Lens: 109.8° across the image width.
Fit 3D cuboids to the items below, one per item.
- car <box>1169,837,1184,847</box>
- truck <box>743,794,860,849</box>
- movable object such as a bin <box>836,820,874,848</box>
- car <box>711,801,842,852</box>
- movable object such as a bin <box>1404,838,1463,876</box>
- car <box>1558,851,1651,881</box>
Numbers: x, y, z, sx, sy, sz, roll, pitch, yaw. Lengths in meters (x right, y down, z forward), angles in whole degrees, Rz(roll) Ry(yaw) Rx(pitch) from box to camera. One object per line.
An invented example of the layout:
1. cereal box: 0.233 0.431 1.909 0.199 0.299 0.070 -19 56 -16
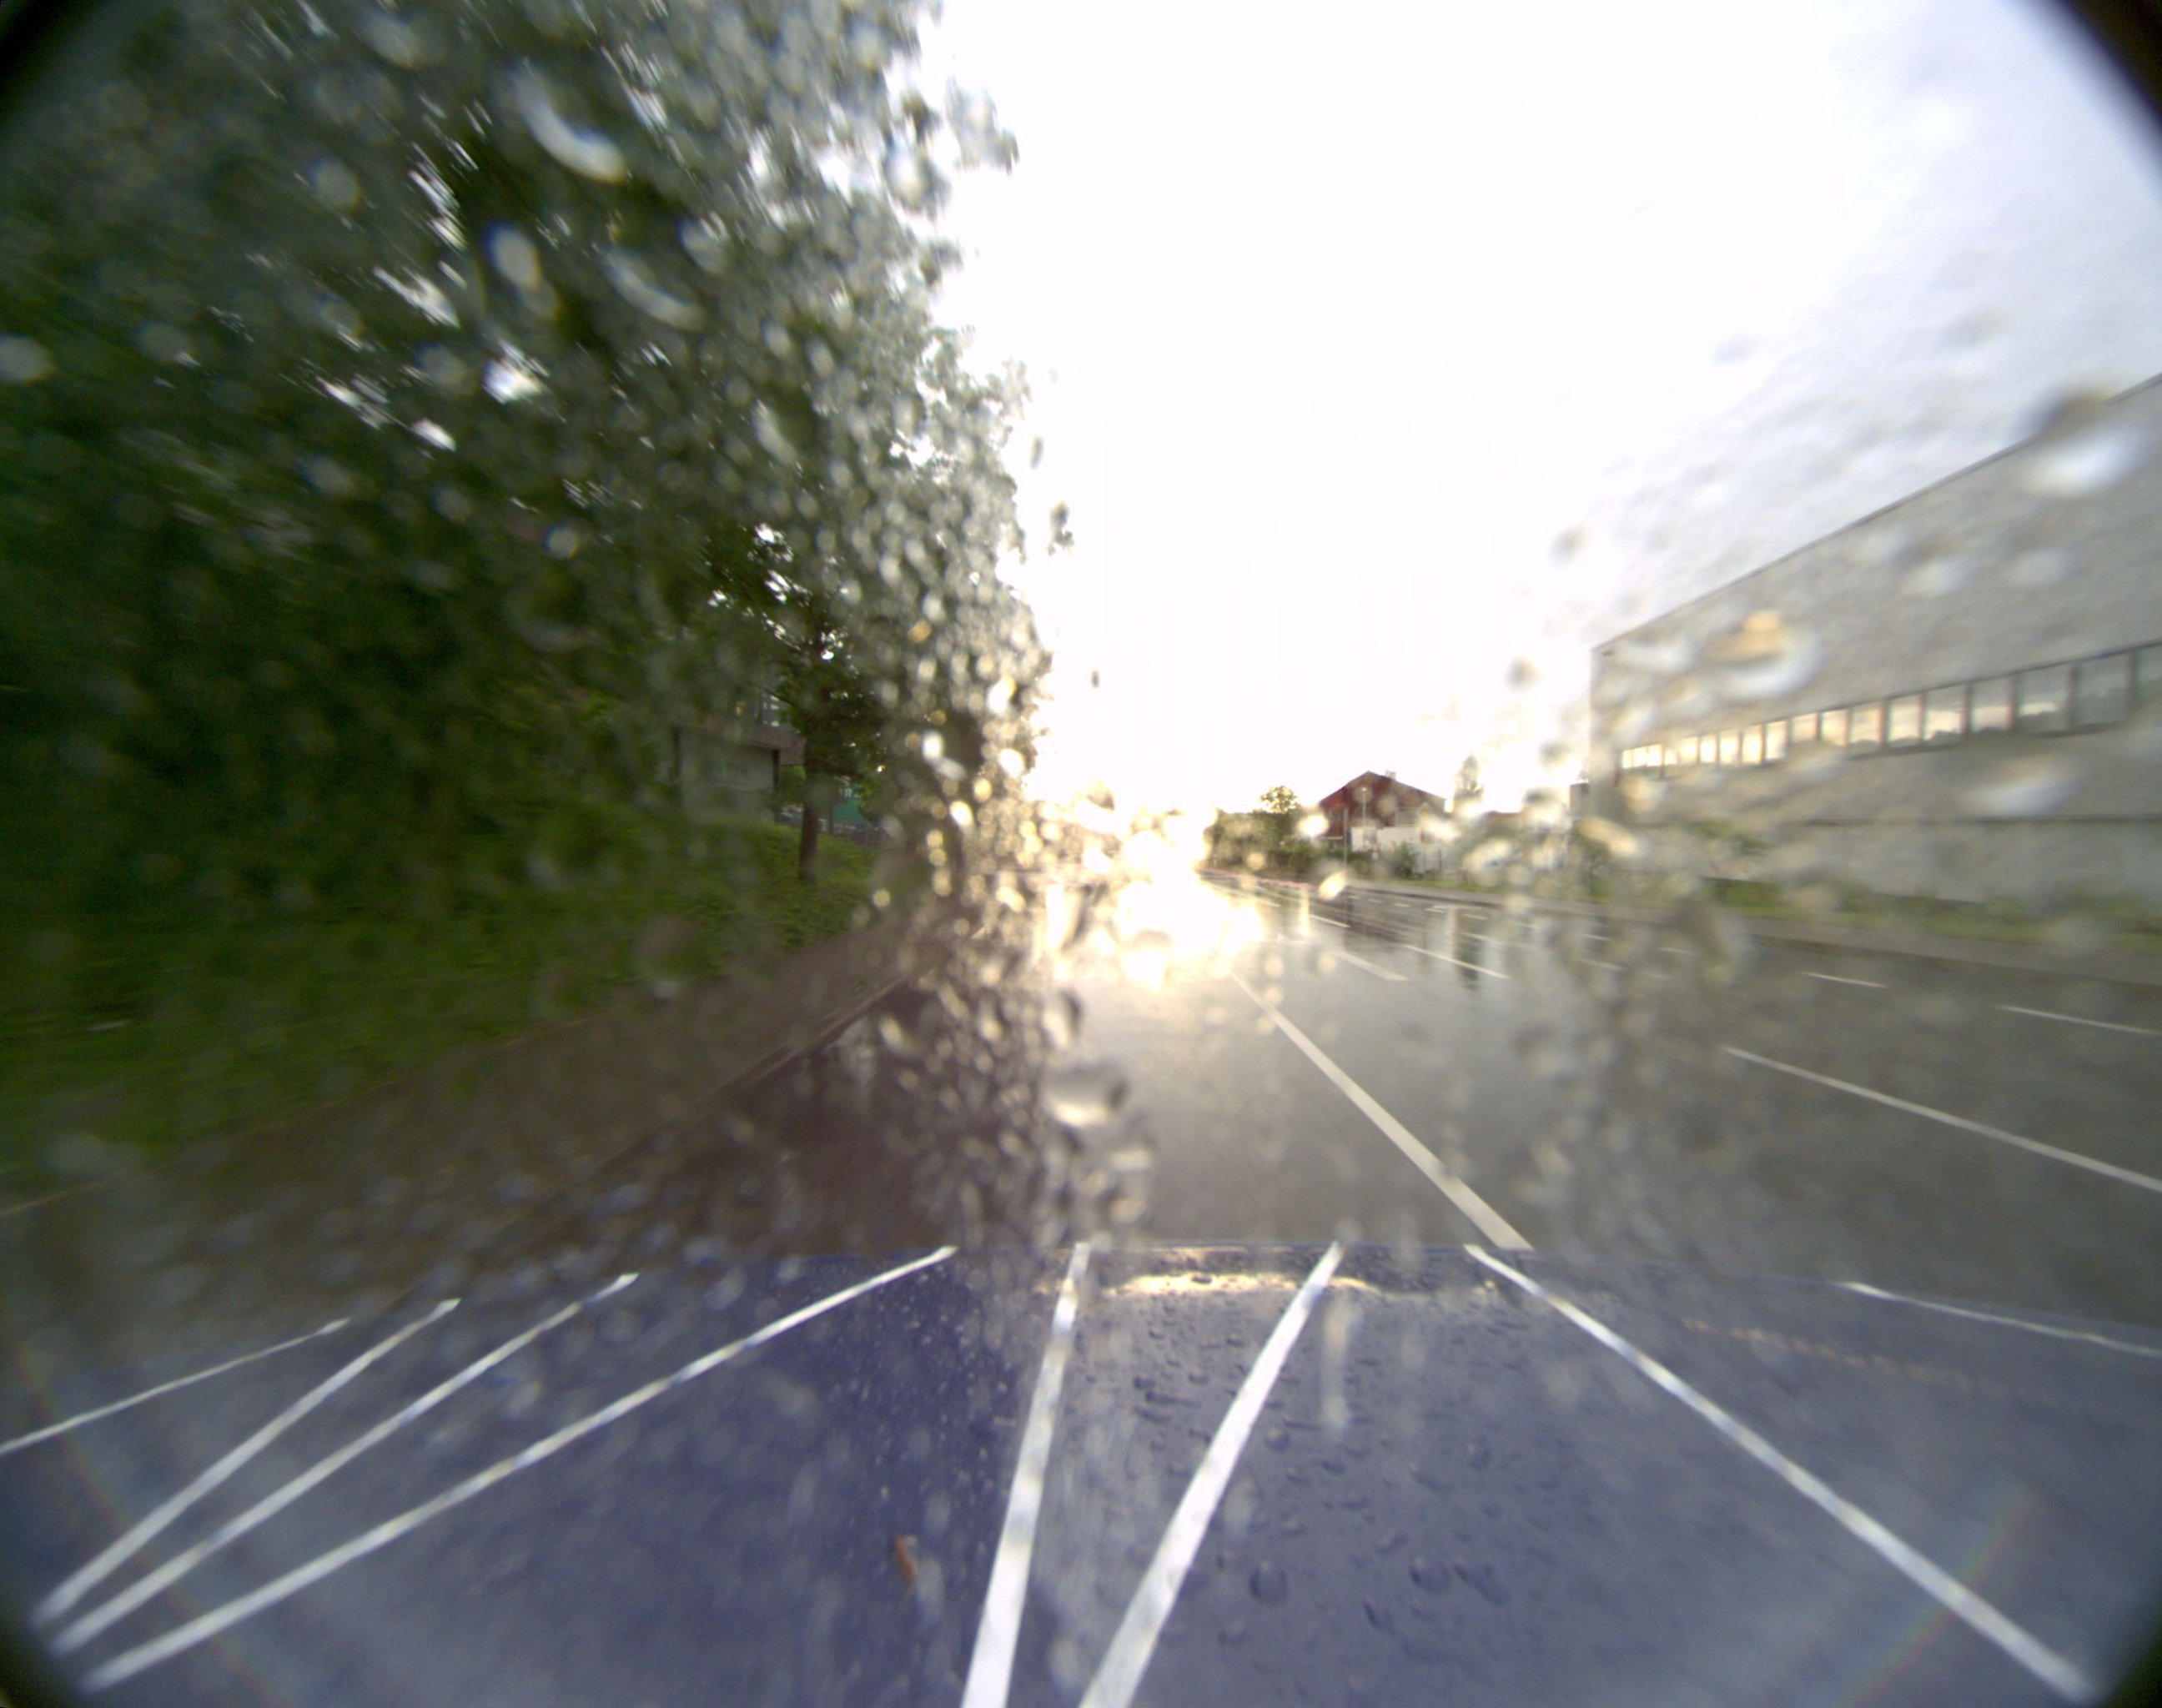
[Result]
1. car: 19.024 -2.474 152.161 2.359 1.805 6.877 3 1 2
2. truck: -13.518 -1.555 37.005 4.835 2.328 2.249 3 1 -3
3. movable object such as a bin: -12.477 -1.100 42.008 1.859 1.492 1.309 2 1 -12
4. car: -13.535 -1.230 33.999 4.934 2.002 2.063 2 1 1
5. movable object such as a bin: 25.009 0.204 54.024 3.334 2.542 1.739 3 1 9
6. car: 31.431 0.710 45.647 4.448 1.601 1.955 2 1 -11
